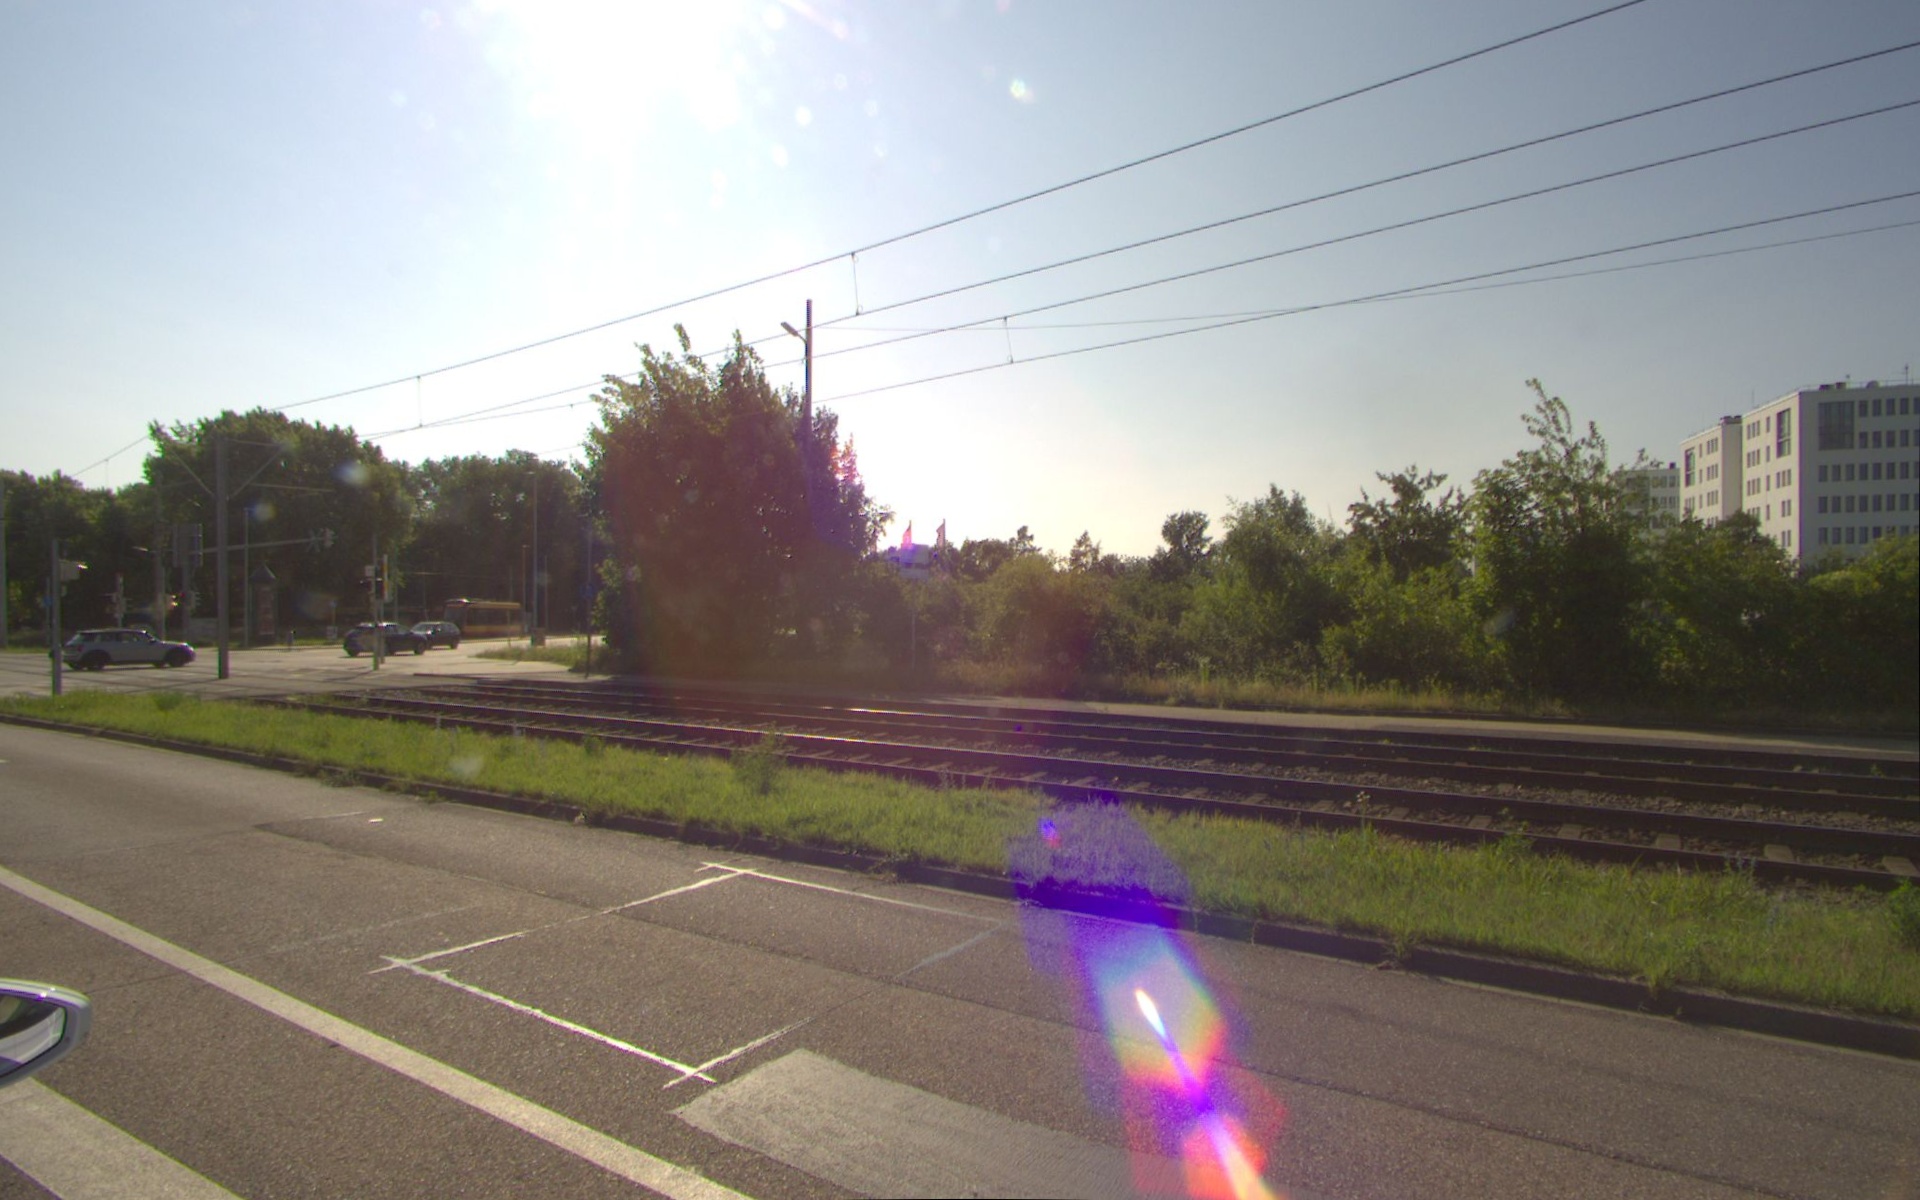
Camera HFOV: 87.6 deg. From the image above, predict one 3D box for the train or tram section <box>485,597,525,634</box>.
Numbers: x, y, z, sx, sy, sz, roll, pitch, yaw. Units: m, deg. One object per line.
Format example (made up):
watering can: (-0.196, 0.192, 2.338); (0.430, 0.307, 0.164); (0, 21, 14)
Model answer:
train or tram section: (-47.654, 1.617, 104.609); (3.009, 3.626, 12.174); (0, -1, -28)

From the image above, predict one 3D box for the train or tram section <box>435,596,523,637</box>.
train or tram section: (-44.546, 1.563, 93.281); (2.995, 3.626, 11.853); (0, -1, -3)

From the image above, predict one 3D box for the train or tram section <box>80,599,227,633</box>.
train or tram section: (-88.982, 1.747, 110.802); (12.249, 3.626, 3.041); (0, -1, -27)

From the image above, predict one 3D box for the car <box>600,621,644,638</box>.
car: (-27.877, 2.427, 82.766); (1.961, 1.371, 4.410); (0, -1, 4)

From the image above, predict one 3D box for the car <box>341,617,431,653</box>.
car: (-29.100, 1.749, 50.915); (1.617, 1.744, 4.623); (0, -1, 5)

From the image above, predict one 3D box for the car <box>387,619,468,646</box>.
car: (-31.893, 1.921, 60.125); (2.005, 1.583, 4.863); (0, -1, 5)

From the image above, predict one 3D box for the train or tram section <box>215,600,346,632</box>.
train or tram section: (-78.218, 1.849, 115.616); (12.027, 3.626, 3.045); (0, -1, -22)

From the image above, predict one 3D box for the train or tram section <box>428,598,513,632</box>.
train or tram section: (-55.561, 1.734, 113.440); (12.061, 3.626, 3.037); (-1, -1, 34)

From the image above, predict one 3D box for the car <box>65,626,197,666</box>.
car: (-31.027, 1.699, 37.580); (1.583, 1.401, 3.512); (-1, -1, 32)

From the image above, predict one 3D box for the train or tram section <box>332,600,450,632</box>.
train or tram section: (-66.505, 1.872, 117.218); (11.992, 3.626, 3.054); (0, -1, -1)
